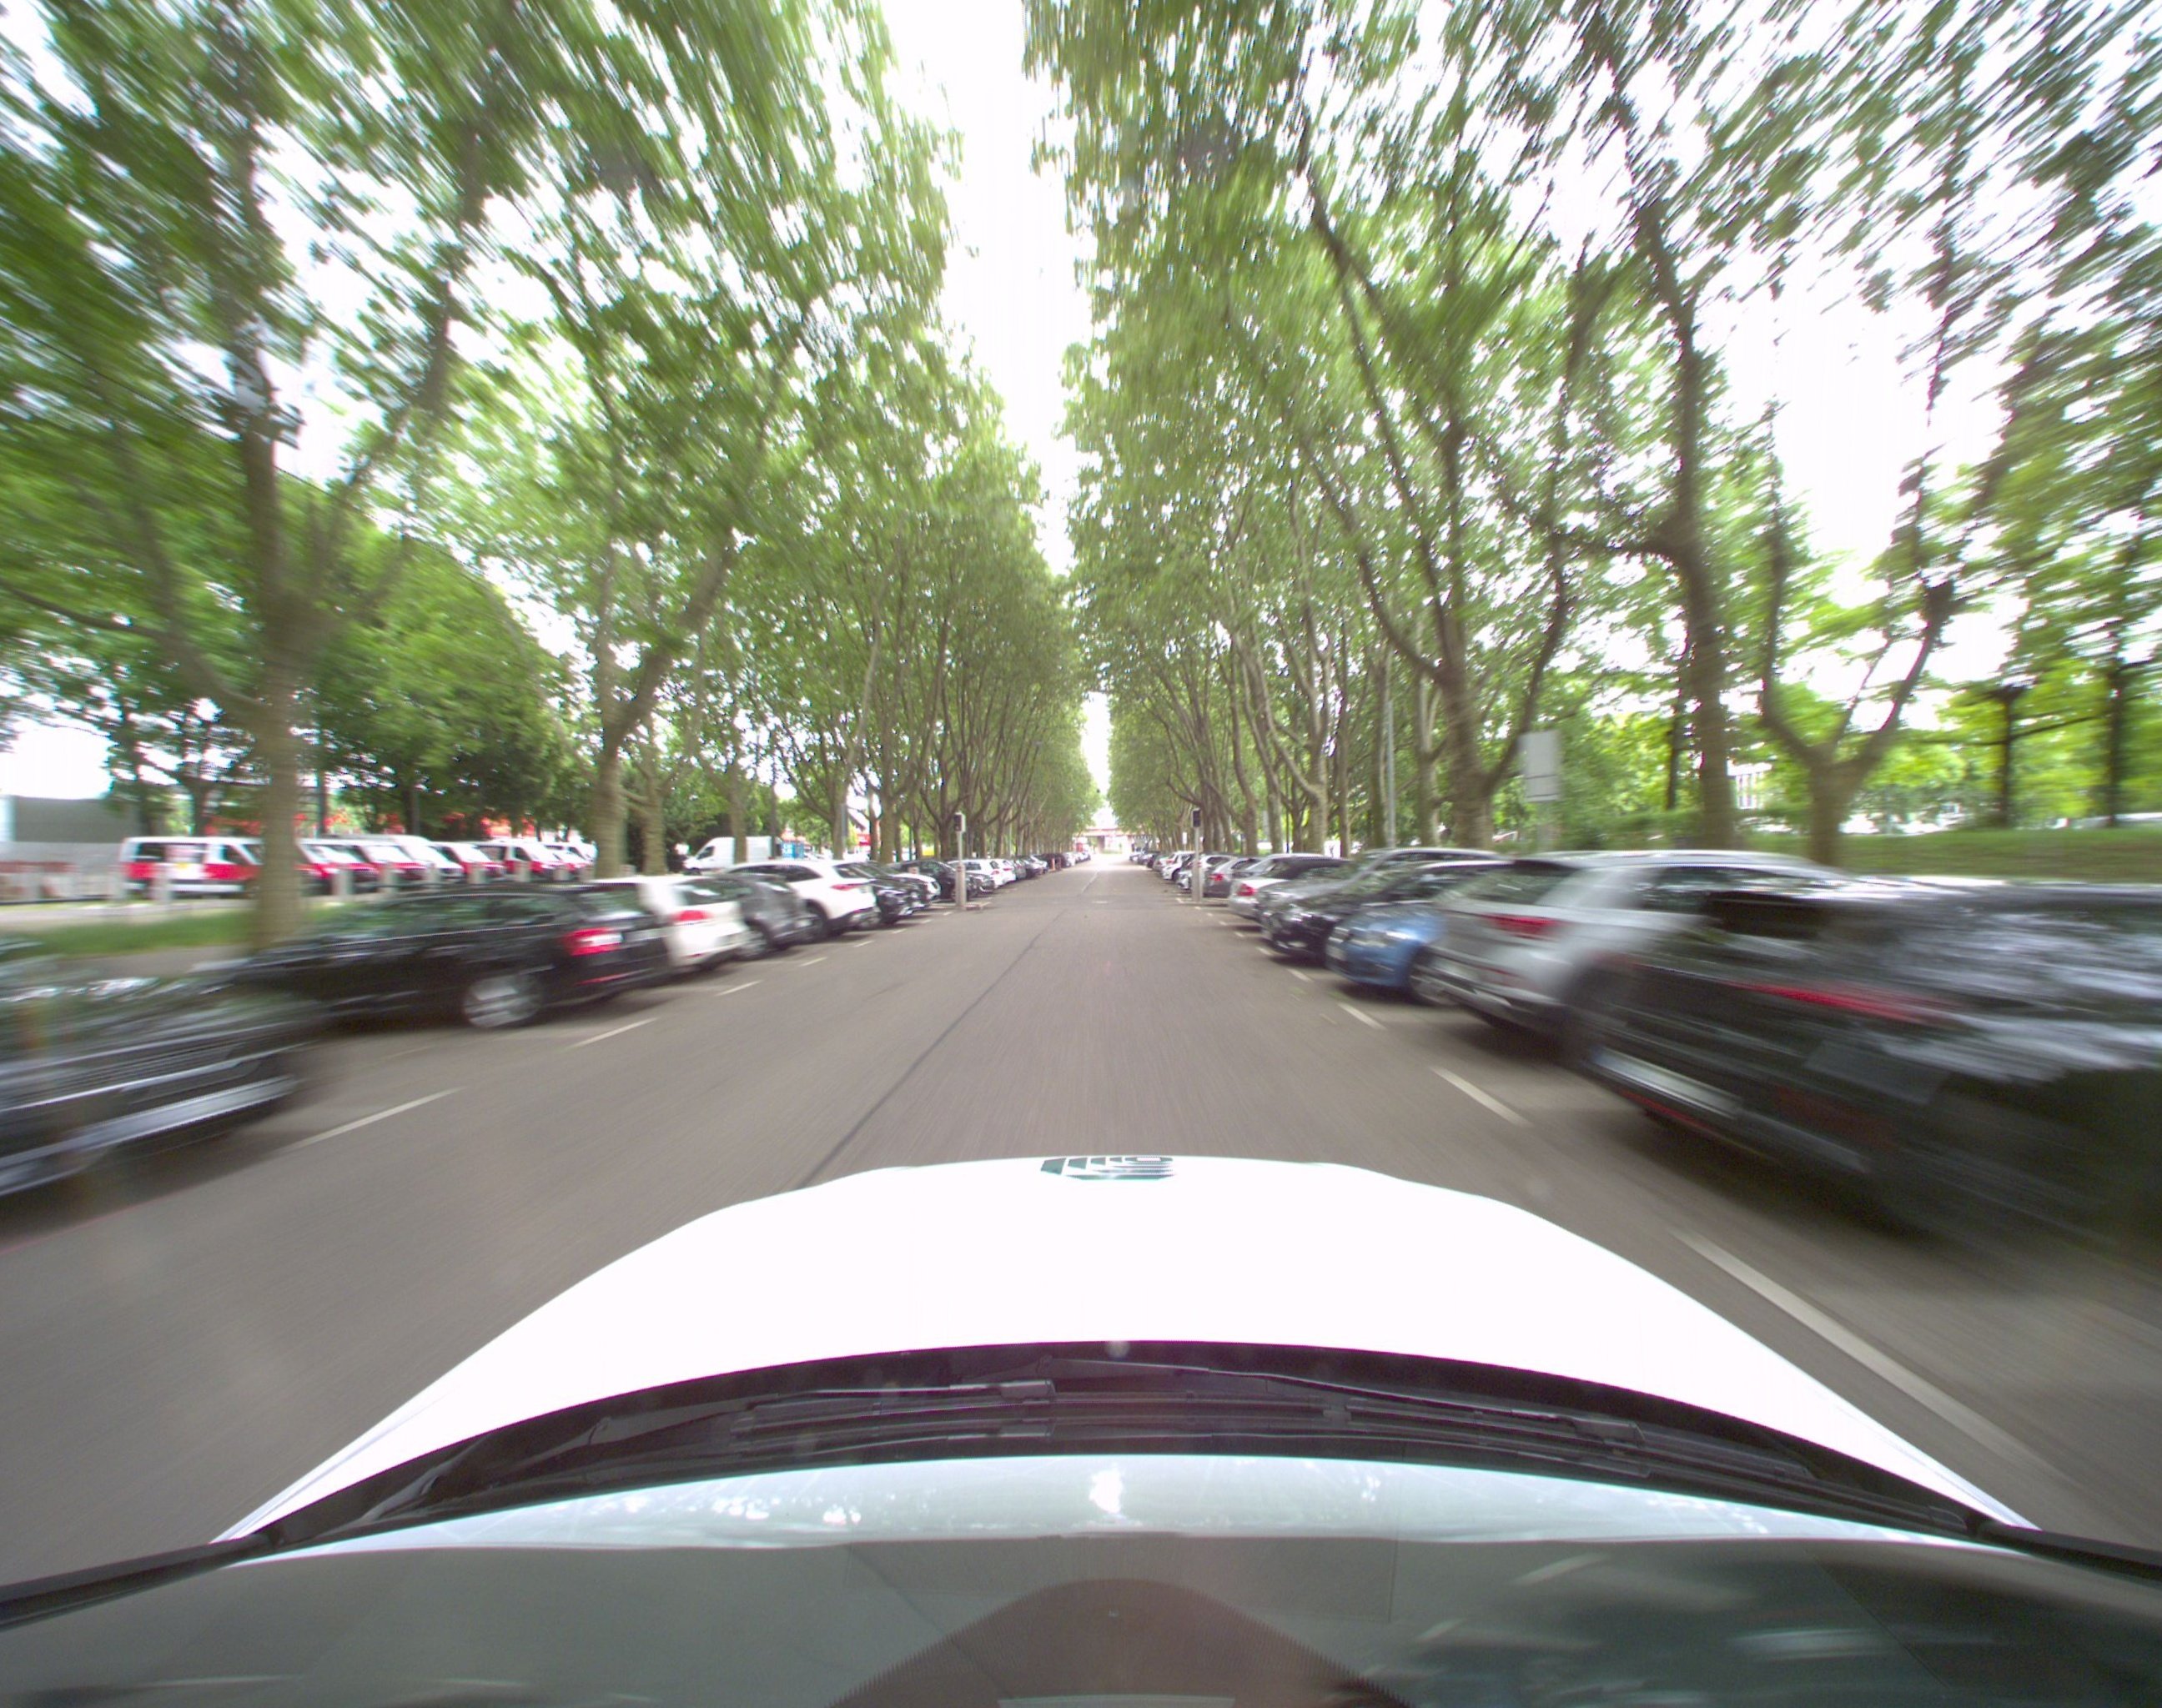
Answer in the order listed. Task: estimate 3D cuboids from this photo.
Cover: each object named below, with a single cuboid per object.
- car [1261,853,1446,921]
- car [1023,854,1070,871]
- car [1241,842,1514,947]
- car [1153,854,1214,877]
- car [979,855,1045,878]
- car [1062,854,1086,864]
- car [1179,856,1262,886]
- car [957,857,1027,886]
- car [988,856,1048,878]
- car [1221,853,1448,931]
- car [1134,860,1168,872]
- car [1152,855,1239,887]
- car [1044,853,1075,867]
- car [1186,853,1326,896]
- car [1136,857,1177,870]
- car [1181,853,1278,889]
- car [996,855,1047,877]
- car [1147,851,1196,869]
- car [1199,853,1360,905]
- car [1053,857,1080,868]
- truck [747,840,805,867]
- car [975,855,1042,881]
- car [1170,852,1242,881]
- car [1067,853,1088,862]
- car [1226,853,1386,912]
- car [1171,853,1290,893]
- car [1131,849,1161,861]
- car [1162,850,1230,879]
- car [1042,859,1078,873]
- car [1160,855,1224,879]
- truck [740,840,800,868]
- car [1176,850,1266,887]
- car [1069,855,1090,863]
[{"bbox_3d":[6.134,0.721,18.660,3.759,1.470,1.625,0,0,3],"label":"car"},{"bbox_3d":[-3.528,0.854,83.453,4.648,1.427,2.000,-3,0,0],"label":"car"},{"bbox_3d":[4.917,0.647,13.936,4.097,1.670,1.695,0,0,2],"label":"car"},{"bbox_3d":[6.447,0.723,51.605,3.635,1.424,1.984,0,0,-1],"label":"car"},{"bbox_3d":[-4.741,0.850,56.516,4.388,1.430,1.694,-3,0,-1],"label":"car"},{"bbox_3d":[-1.141,0.857,134.468,3.793,1.515,1.689,-3,0,7],"label":"car"},{"bbox_3d":[6.548,0.769,38.345,3.635,1.371,1.518,0,0,-2],"label":"car"},{"bbox_3d":[-5.073,0.974,46.740,3.815,1.430,1.694,-3,0,-1],"label":"car"},{"bbox_3d":[-4.684,0.973,61.289,4.320,1.430,1.694,-3,0,-1],"label":"car"},{"bbox_3d":[4.991,0.725,16.439,4.097,1.470,1.695,0,0,2],"label":"car"},{"bbox_3d":[8.686,1.467,100.810,4.153,1.442,1.734,0,0,7],"label":"car"},{"bbox_3d":[5.741,0.835,41.249,4.155,1.596,1.854,0,0,-2],"label":"car"},{"bbox_3d":[-2.930,0.831,110.553,3.793,1.602,1.789,-3,0,7],"label":"car"},{"bbox_3d":[6.040,0.697,28.443,4.597,1.470,1.650,0,0,1],"label":"car"},{"bbox_3d":[8.629,1.048,93.172,4.550,1.486,2.004,0,0,7],"label":"car"},{"bbox_3d":[6.158,0.705,33.980,3.765,1.470,1.623,0,0,-2],"label":"car"},{"bbox_3d":[-4.678,0.912,64.029,3.815,1.554,1.694,-3,0,-1],"label":"car"},{"bbox_3d":[7.344,0.507,66.321,3.904,1.452,1.556,0,0,1],"label":"car"},{"bbox_3d":[5.722,0.708,23.819,4.350,1.470,1.624,0,0,1],"label":"car"},{"bbox_3d":[-2.257,1.276,123.921,3.793,1.515,1.689,-3,0,7],"label":"car"},{"bbox_3d":[-31.724,-0.030,84.852,5.216,2.742,2.207,0,0,2],"label":"truck"},{"bbox_3d":[-4.501,0.892,51.273,4.009,1.430,1.694,-3,0,-1],"label":"car"},{"bbox_3d":[6.761,0.678,44.151,3.635,1.519,1.643,0,0,-2],"label":"car"},{"bbox_3d":[-0.731,0.639,153.169,3.795,1.515,1.688,0,0,5],"label":"car"},{"bbox_3d":[5.771,0.714,21.224,3.761,1.470,1.668,0,0,1],"label":"car"},{"bbox_3d":[5.678,0.711,31.223,4.285,1.470,1.623,0,0,-2],"label":"car"},{"bbox_3d":[9.505,0.143,119.643,4.363,1.751,1.731,0,0,-1],"label":"car"},{"bbox_3d":[6.526,0.582,46.440,3.635,1.667,1.518,0,0,-2],"label":"car"},{"bbox_3d":[-2.403,1.398,94.031,3.793,1.354,1.665,-3,0,7],"label":"car"},{"bbox_3d":[6.557,0.755,48.365,3.635,1.410,1.518,0,0,-2],"label":"car"},{"bbox_3d":[-31.306,-0.028,82.120,5.292,2.742,1.929,0,0,2],"label":"truck"},{"bbox_3d":[6.253,0.635,36.691,3.765,1.597,1.820,0,0,-2],"label":"car"},{"bbox_3d":[-0.231,0.869,155.067,3.795,1.515,1.688,0,0,5],"label":"car"}]
